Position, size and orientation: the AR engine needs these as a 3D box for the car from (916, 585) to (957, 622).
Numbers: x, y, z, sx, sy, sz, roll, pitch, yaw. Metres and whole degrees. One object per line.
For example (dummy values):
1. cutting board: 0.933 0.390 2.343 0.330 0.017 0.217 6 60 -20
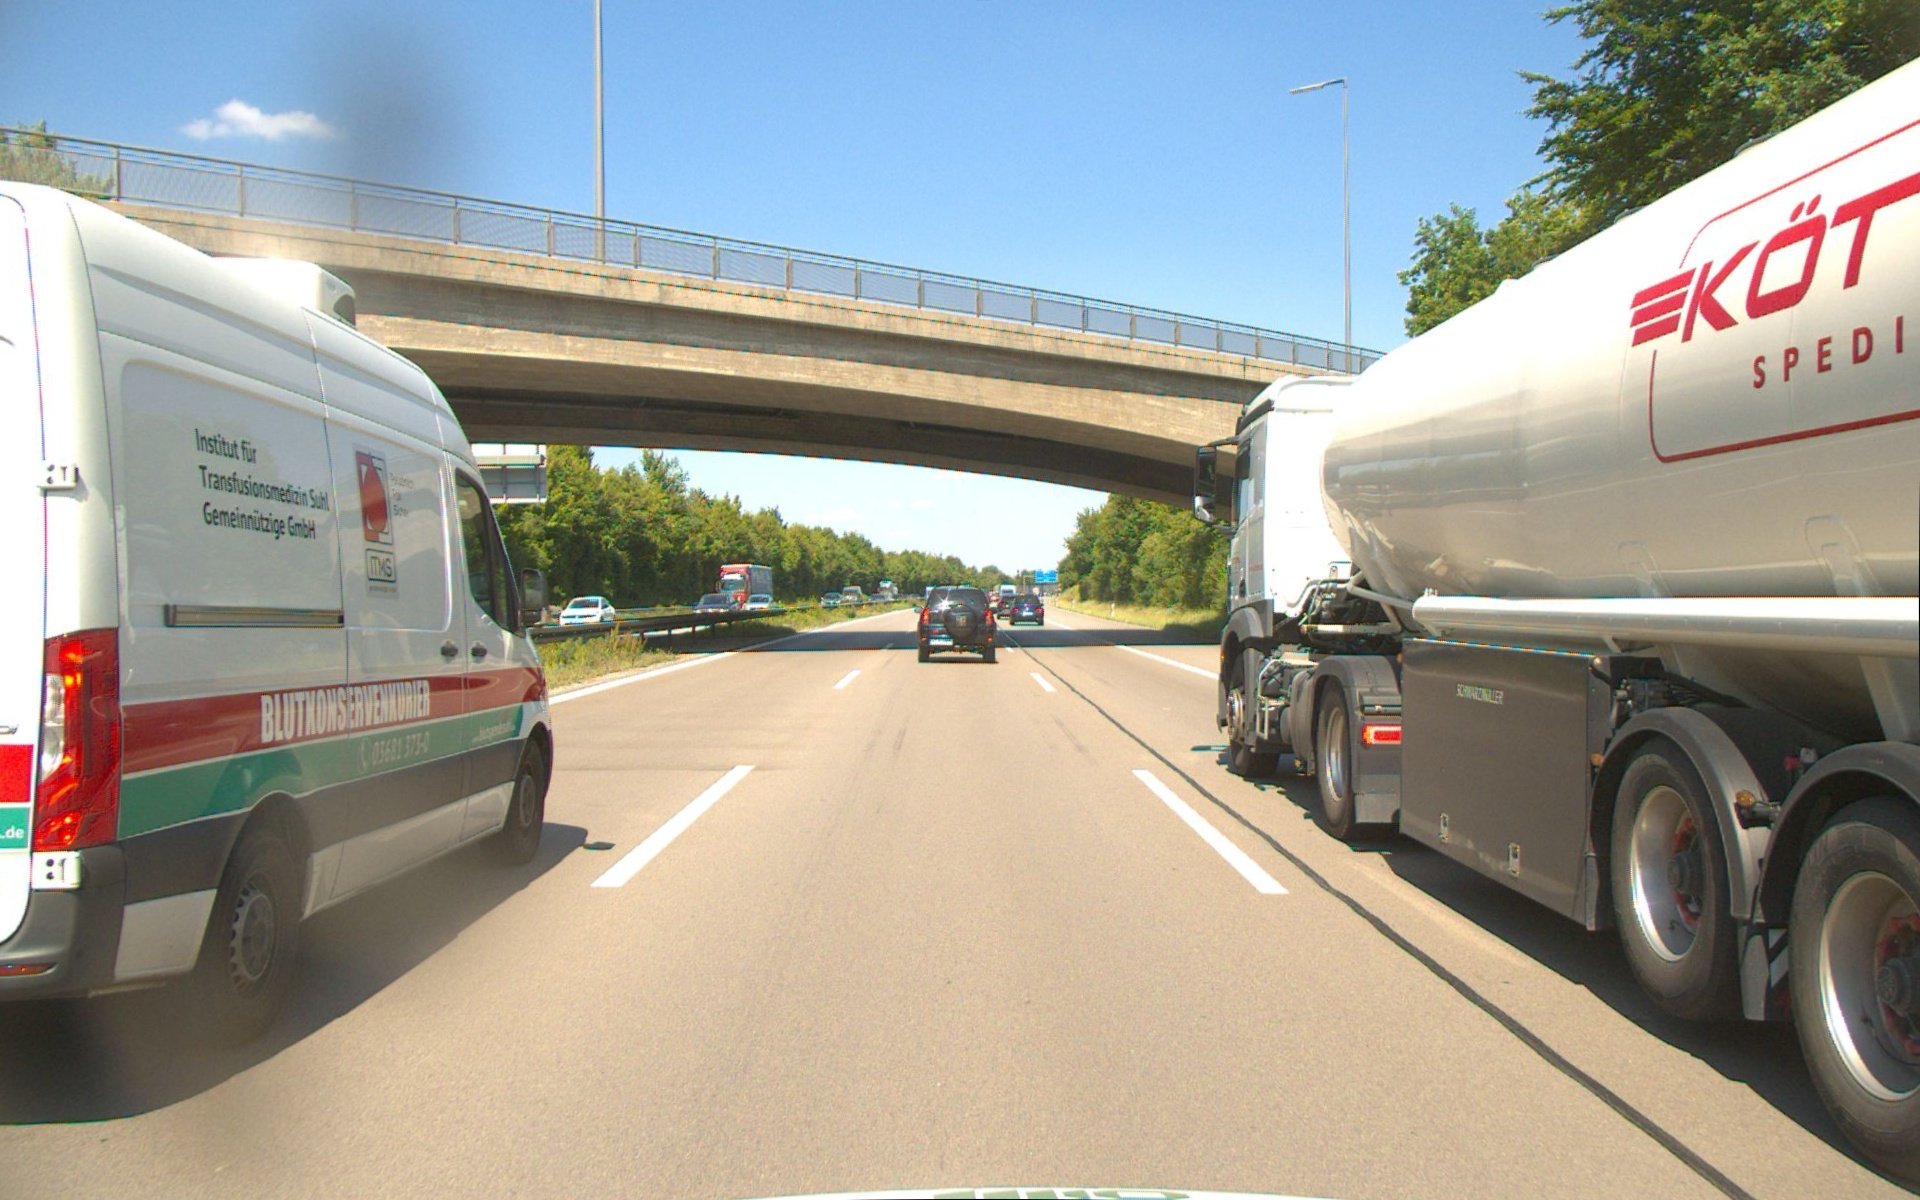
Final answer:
1. car: -1.132 0.175 81.713 1.953 1.736 4.336 -1 0 0

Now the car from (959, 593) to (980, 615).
1. car: 0.943 0.369 162.388 1.953 2.049 4.767 -1 0 -1

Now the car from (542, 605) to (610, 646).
1. car: -15.644 1.010 67.493 1.822 1.554 4.213 -1 0 -1

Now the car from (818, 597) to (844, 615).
1. car: -11.194 0.499 143.600 1.843 1.509 4.434 -1 0 0

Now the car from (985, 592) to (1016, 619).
1. car: 2.499 0.385 103.794 1.805 1.640 3.999 0 -1 0

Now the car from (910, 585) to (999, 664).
1. car: -0.178 0.517 37.667 1.868 1.694 3.998 0 0 -2

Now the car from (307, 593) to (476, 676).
1. car: -11.456 0.638 33.676 1.822 1.554 4.750 -1 0 -1

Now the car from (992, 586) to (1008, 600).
1. car: 5.122 -0.937 211.387 1.776 1.777 3.998 -1 0 -3

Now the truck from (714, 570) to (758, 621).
1. truck: -19.144 -0.414 141.536 2.728 4.131 6.209 -2 0 0

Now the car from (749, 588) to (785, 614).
1. car: -11.731 0.056 100.622 1.648 1.507 4.348 -1 0 0

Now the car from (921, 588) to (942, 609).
1. car: -2.845 -0.165 164.306 1.952 2.049 4.950 -1 0 1

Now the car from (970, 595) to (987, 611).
1. car: 2.194 0.337 196.776 1.953 1.780 4.203 0 0 -2

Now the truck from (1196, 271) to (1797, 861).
1. truck: 3.620 -0.207 12.967 2.584 3.434 6.487 1 0 0

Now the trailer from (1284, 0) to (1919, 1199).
1. trailer: 3.720 -0.179 6.312 2.594 3.449 11.149 1 0 -1

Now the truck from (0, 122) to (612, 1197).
1. truck: -3.218 0.108 7.312 1.953 2.587 6.691 1 0 -1

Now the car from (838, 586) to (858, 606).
1. car: -13.591 -0.466 200.413 1.952 2.274 6.517 0 -1 0

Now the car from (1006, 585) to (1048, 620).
1. car: 3.391 0.154 84.120 1.953 1.713 4.000 0 -1 0

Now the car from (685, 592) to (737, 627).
1. car: -11.535 0.437 76.823 1.739 1.499 4.419 -3 0 -1
